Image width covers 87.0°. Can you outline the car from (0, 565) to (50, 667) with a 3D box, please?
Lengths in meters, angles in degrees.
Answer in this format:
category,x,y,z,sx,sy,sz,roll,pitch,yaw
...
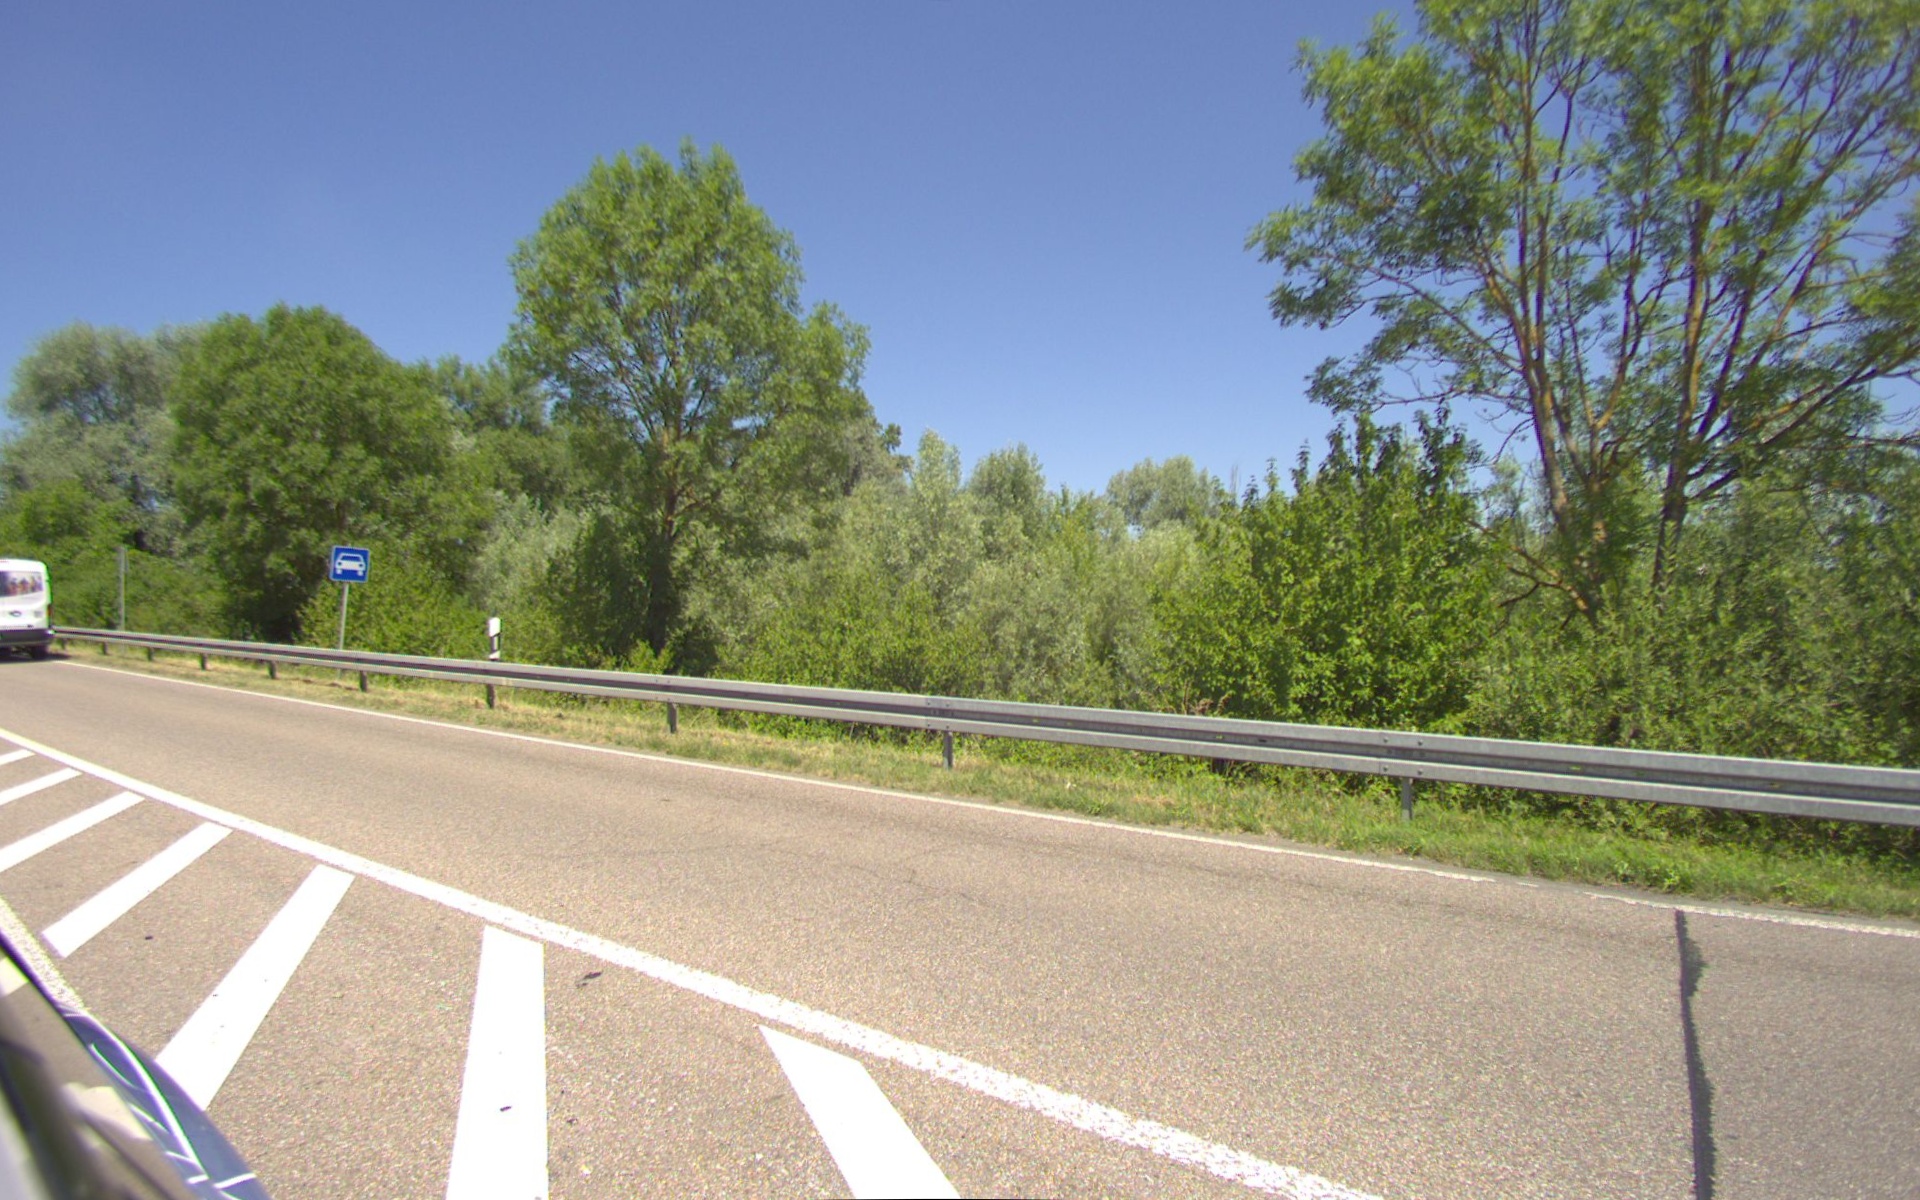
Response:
category,x,y,z,sx,sy,sz,roll,pitch,yaw
car,-25.317,0.376,25.905,5.580,2.435,1.975,0,0,37
